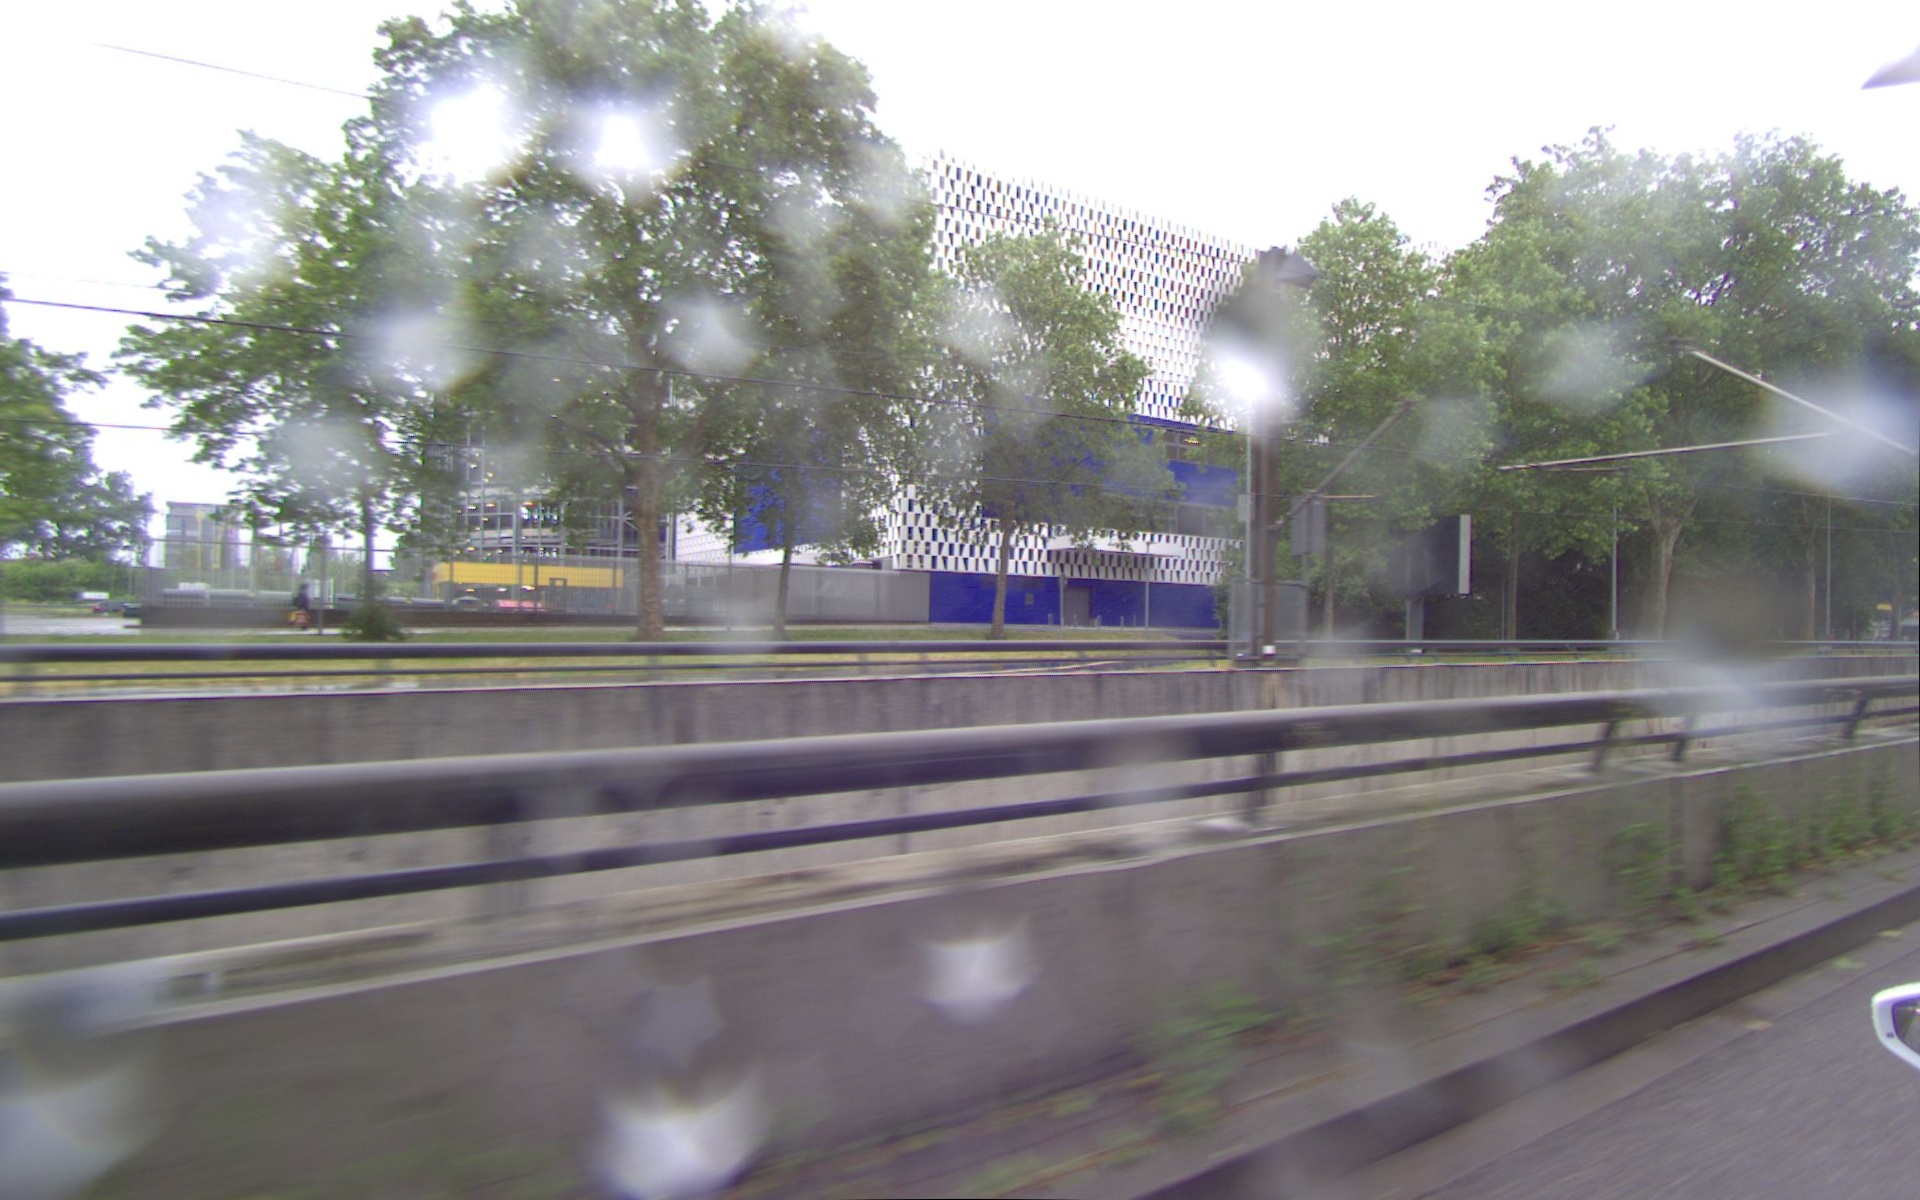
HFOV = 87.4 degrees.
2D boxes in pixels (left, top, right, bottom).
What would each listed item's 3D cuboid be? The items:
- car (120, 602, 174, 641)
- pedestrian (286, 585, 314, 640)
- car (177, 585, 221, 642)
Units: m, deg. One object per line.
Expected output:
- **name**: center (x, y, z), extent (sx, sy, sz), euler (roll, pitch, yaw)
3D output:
- **car**: center (-61.105, 1.579, 75.571), extent (2.184, 2.863, 3.974), euler (1, -1, -26)
- **pedestrian**: center (-25.177, 0.480, 38.339), extent (0.781, 2.041, 0.996), euler (1, 1, -30)
- **car**: center (-57.898, 1.025, 76.480), extent (2.189, 4.160, 5.307), euler (1, -1, -33)
